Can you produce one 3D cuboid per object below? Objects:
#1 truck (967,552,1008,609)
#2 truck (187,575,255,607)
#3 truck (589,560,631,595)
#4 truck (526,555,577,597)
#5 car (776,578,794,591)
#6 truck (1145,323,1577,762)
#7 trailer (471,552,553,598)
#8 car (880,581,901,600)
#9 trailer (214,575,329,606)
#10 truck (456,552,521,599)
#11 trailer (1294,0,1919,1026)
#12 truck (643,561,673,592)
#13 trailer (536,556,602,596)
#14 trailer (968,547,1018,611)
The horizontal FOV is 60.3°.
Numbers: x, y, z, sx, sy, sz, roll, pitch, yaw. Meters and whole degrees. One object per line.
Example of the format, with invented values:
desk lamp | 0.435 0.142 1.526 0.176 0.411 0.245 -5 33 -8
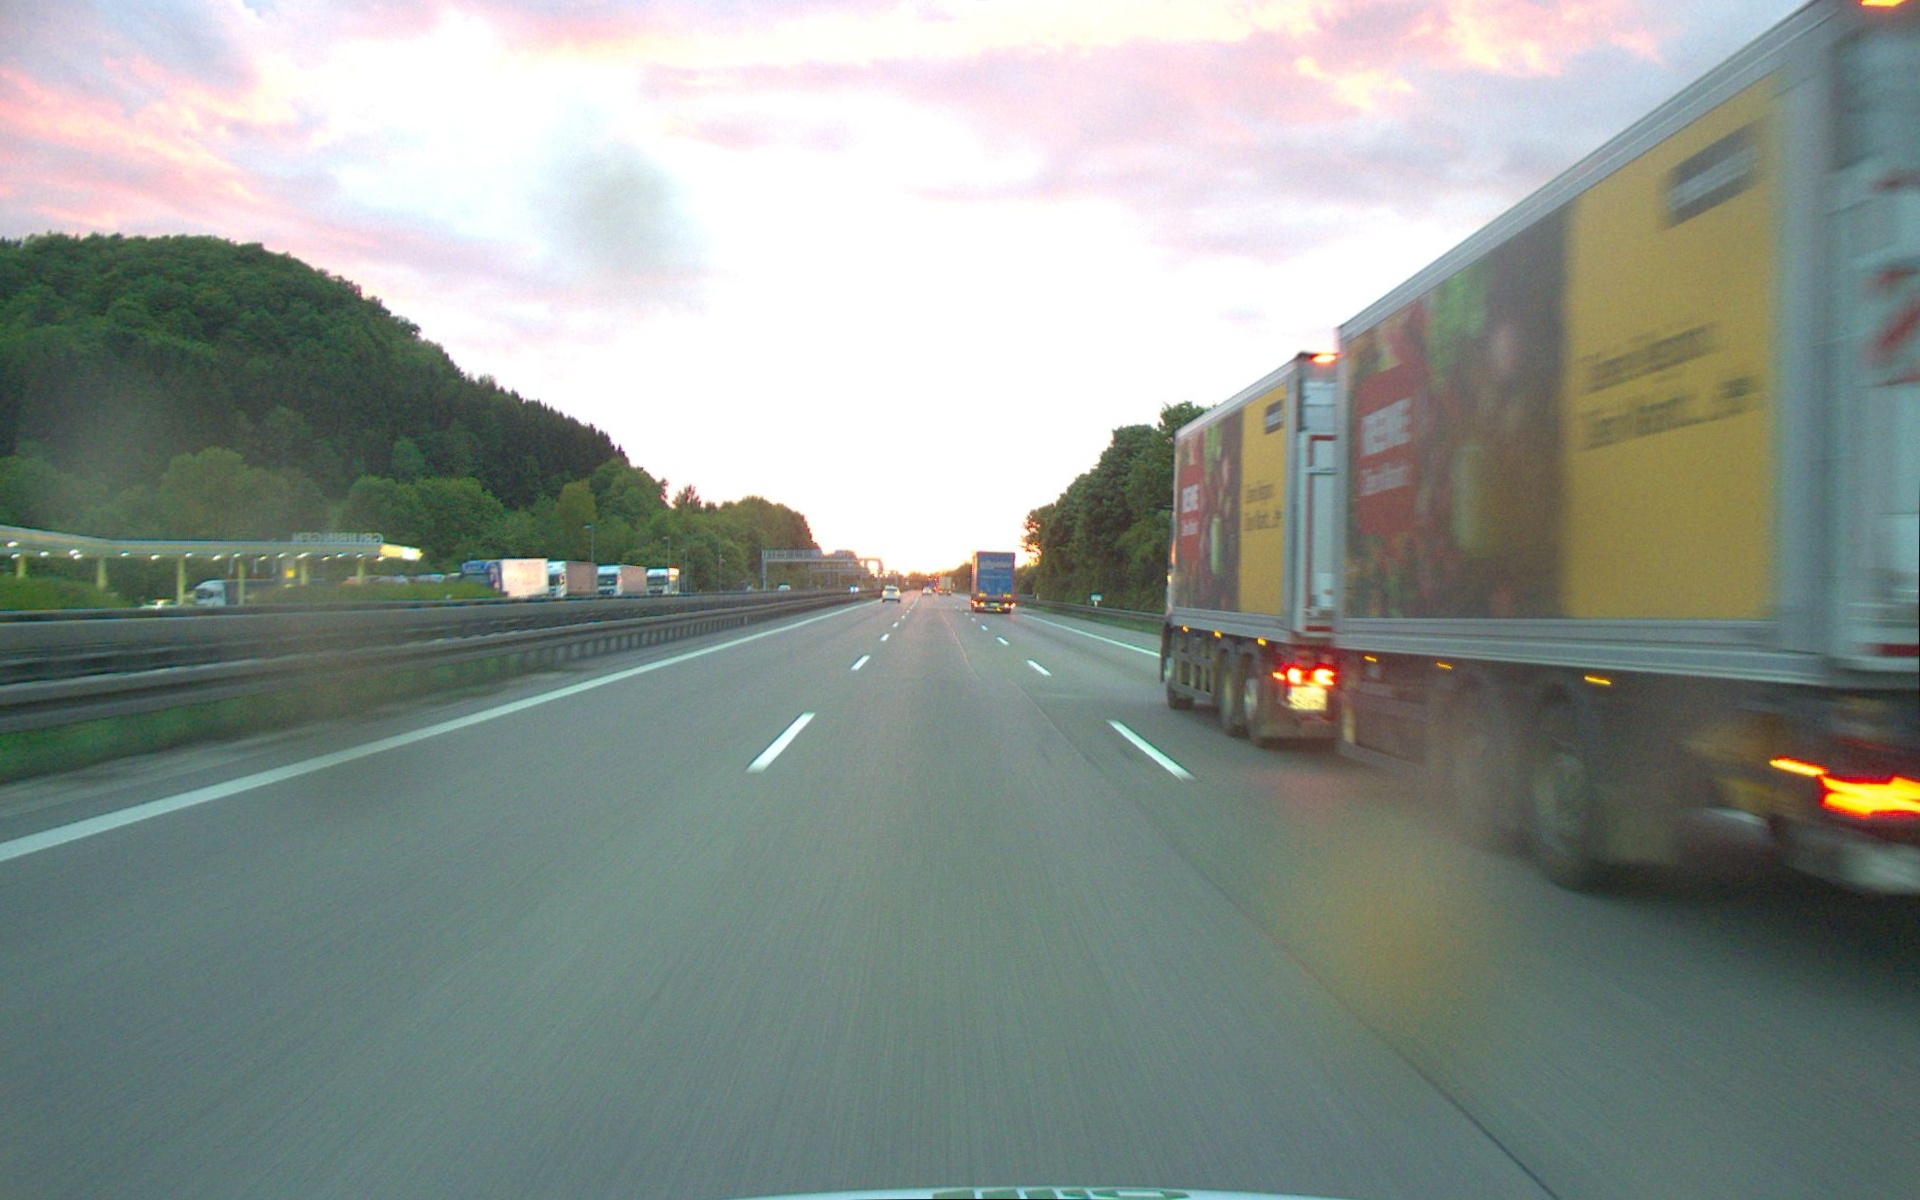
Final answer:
truck | 1.987 -1.457 123.341 2.681 4.066 5.847 2 0 -2
truck | -84.759 -1.075 189.794 2.879 3.580 6.696 0 0 32
truck | -35.939 -2.279 170.036 2.814 3.484 6.726 1 1 0
truck | -35.774 -2.094 145.076 2.815 3.484 6.726 1 1 0
car | -23.799 -2.136 224.635 1.953 1.621 4.740 1 1 0
truck | 4.166 -0.531 19.966 2.563 3.894 10.385 1 0 -1
trailer | -35.717 -1.988 132.472 2.814 3.484 13.224 1 1 0
car | -6.690 -0.935 159.332 1.972 1.780 3.902 -2 1 -2
trailer | -81.204 -1.101 195.512 2.879 3.580 13.385 0 0 32
truck | -35.733 -1.871 125.631 2.814 3.434 7.174 1 1 0
trailer | 4.392 -0.459 10.294 2.563 3.894 8.875 1 0 -2
truck | -35.423 -2.754 194.309 2.817 3.484 6.719 1 1 -5
trailer | -35.813 -2.194 152.024 2.815 3.484 13.570 1 1 0
trailer | 2.200 -1.409 116.414 2.716 4.157 13.735 2 0 -2
